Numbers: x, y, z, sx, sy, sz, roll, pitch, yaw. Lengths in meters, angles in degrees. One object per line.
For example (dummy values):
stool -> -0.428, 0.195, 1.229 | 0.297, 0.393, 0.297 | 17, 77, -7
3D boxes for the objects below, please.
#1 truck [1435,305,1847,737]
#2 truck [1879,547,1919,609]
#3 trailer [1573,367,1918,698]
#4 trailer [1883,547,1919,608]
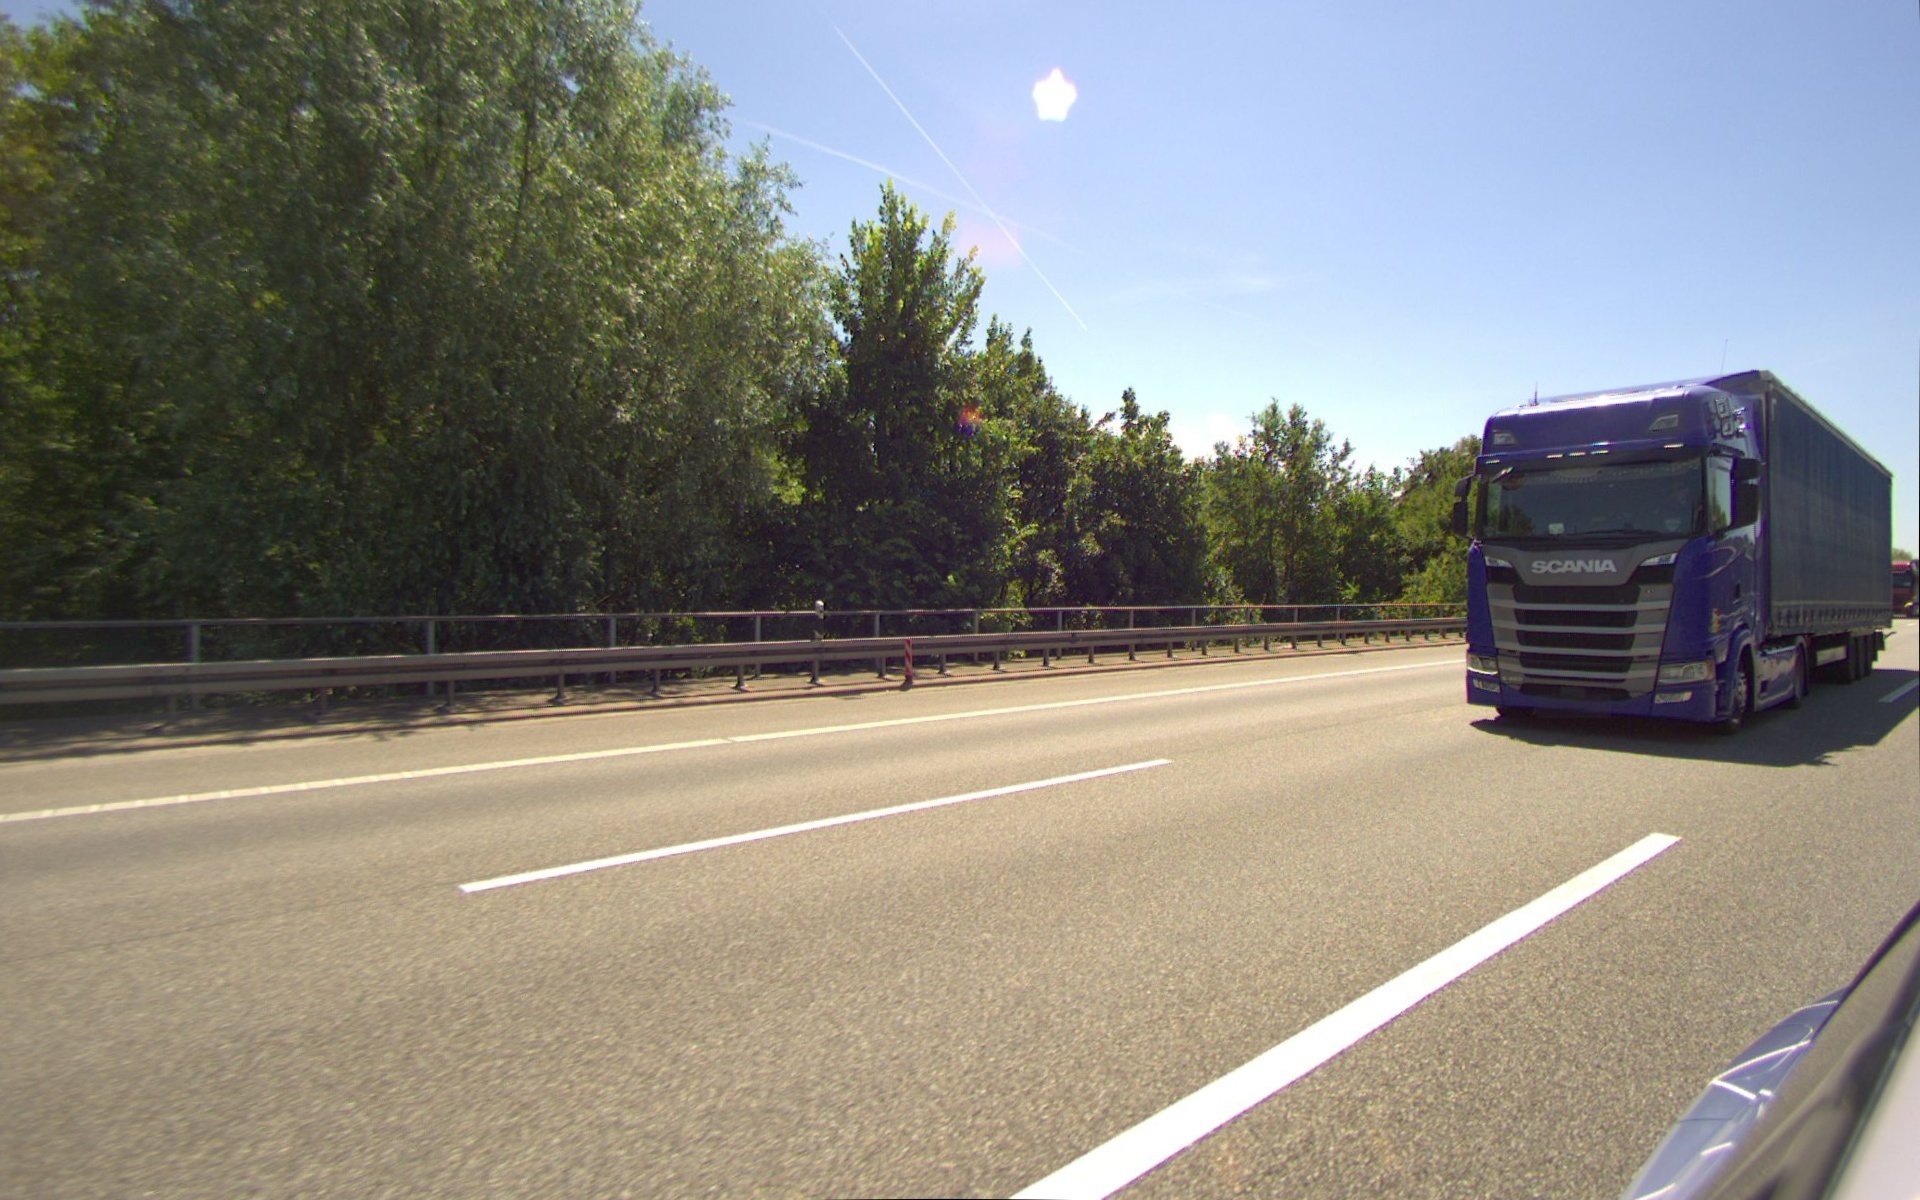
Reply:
truck -> 9.043, -0.802, 13.070 | 6.868, 4.170, 2.705 | -1, 0, -41
truck -> 66.409, -1.502, 70.547 | 7.639, 4.170, 2.799 | -1, 0, -43
trailer -> 14.290, -0.906, 17.764 | 11.923, 4.170, 2.704 | -1, 0, -42
trailer -> 69.736, -1.577, 73.664 | 12.092, 4.170, 2.799 | -1, 0, -43
